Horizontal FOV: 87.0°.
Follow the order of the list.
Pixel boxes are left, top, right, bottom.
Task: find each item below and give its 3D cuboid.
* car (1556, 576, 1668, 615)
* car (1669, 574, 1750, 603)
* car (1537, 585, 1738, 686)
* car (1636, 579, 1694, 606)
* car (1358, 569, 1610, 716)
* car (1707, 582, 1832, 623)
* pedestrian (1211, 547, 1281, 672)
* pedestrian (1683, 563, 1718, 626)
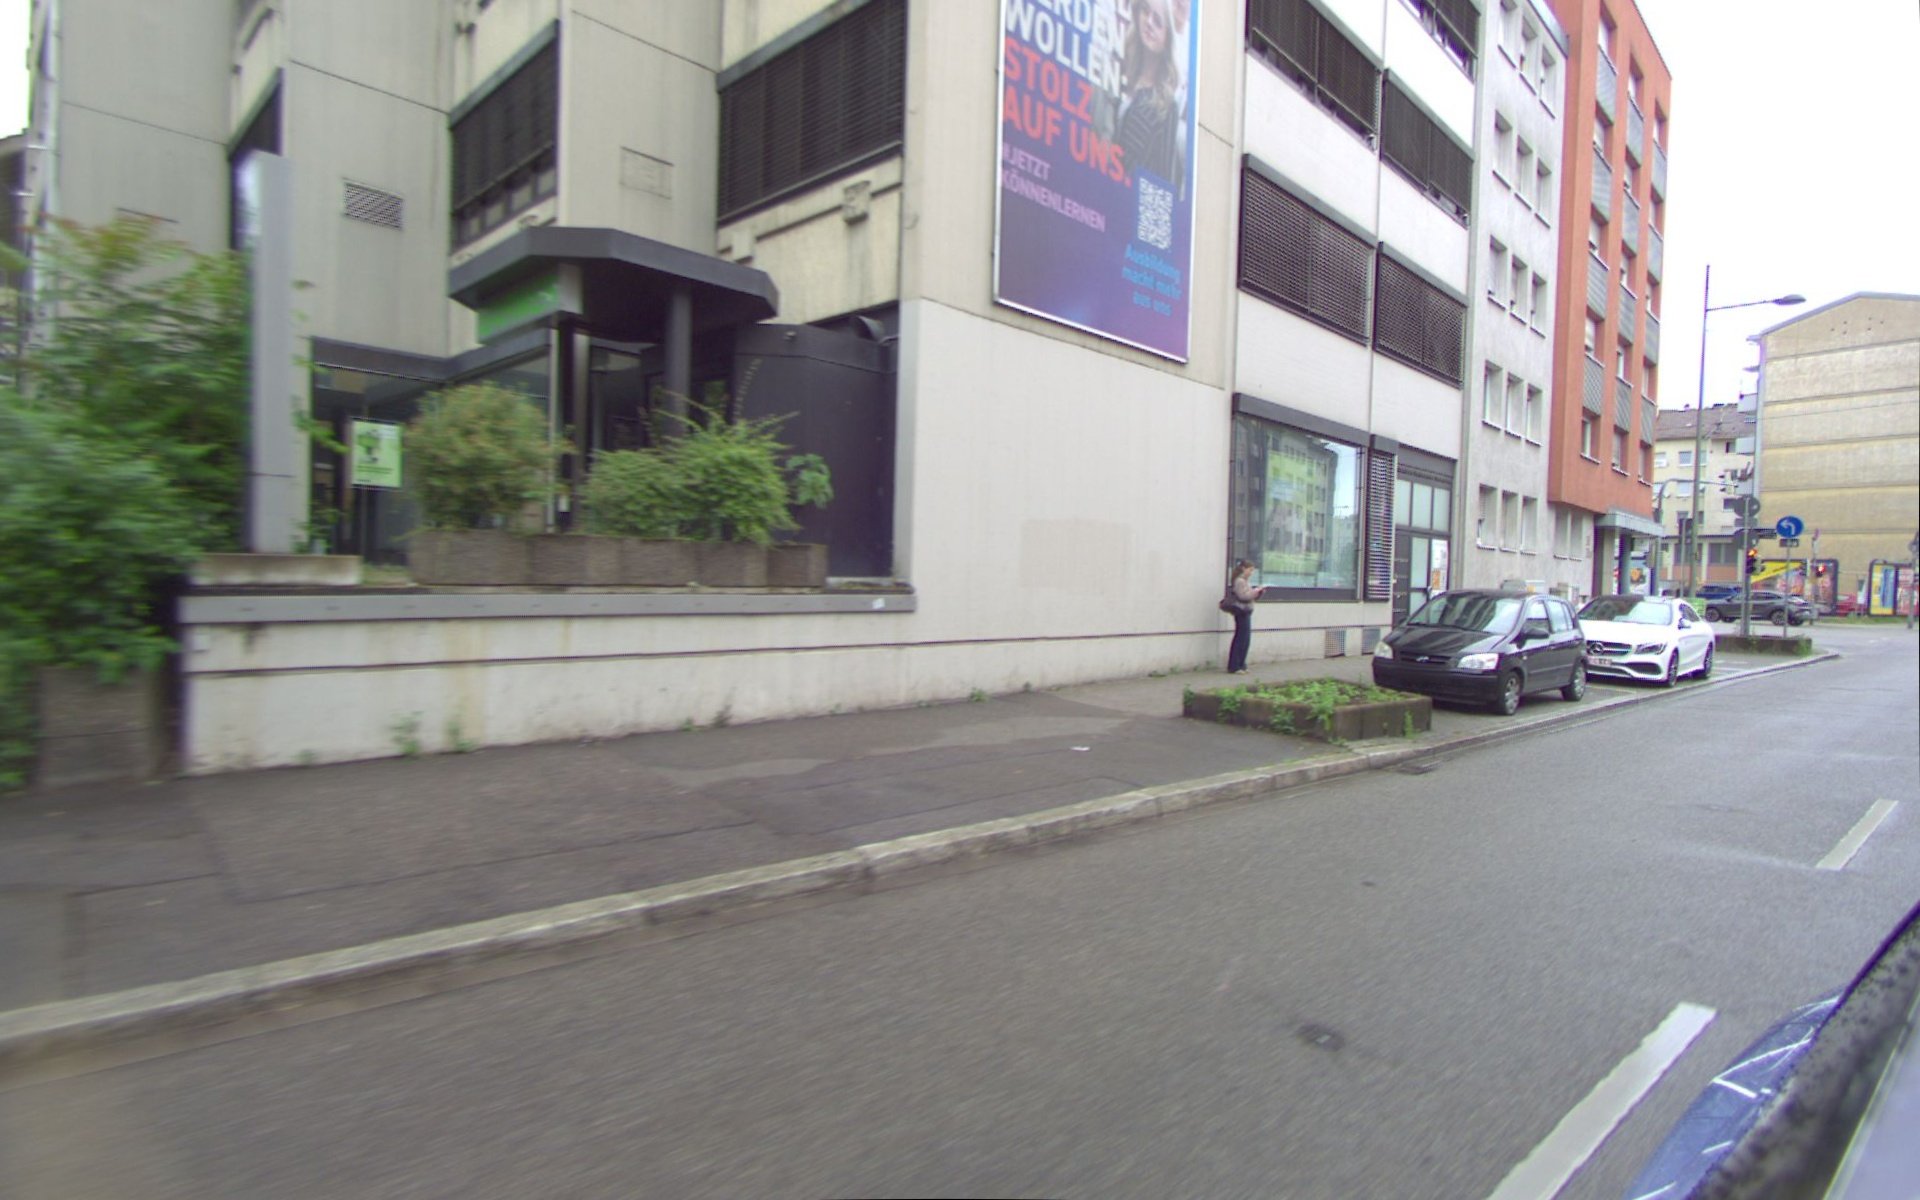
[{"bbox_3d":[30.211,-0.234,46.991,1.802,1.641,3.999,0,2,-37],"label":"car"},{"bbox_3d":[48.892,-0.773,66.102,1.801,1.732,3.800,1,2,-21],"label":"car"},{"bbox_3d":[11.739,0.517,17.412,4.493,1.437,1.834,0,3,-43],"label":"car"},{"bbox_3d":[41.408,-0.435,59.456,3.672,1.474,1.738,0,2,-37],"label":"car"},{"bbox_3d":[6.932,0.450,13.249,3.741,1.577,1.705,0,4,-43],"label":"car"},{"bbox_3d":[36.175,0.089,45.320,1.800,1.641,4.004,0,2,-32],"label":"car"},{"bbox_3d":[4.037,0.120,14.292,0.598,1.679,0.681,6,4,42],"label":"pedestrian"},{"bbox_3d":[25.912,-0.207,35.422,0.797,2.179,0.732,2,1,26],"label":"pedestrian"}]
